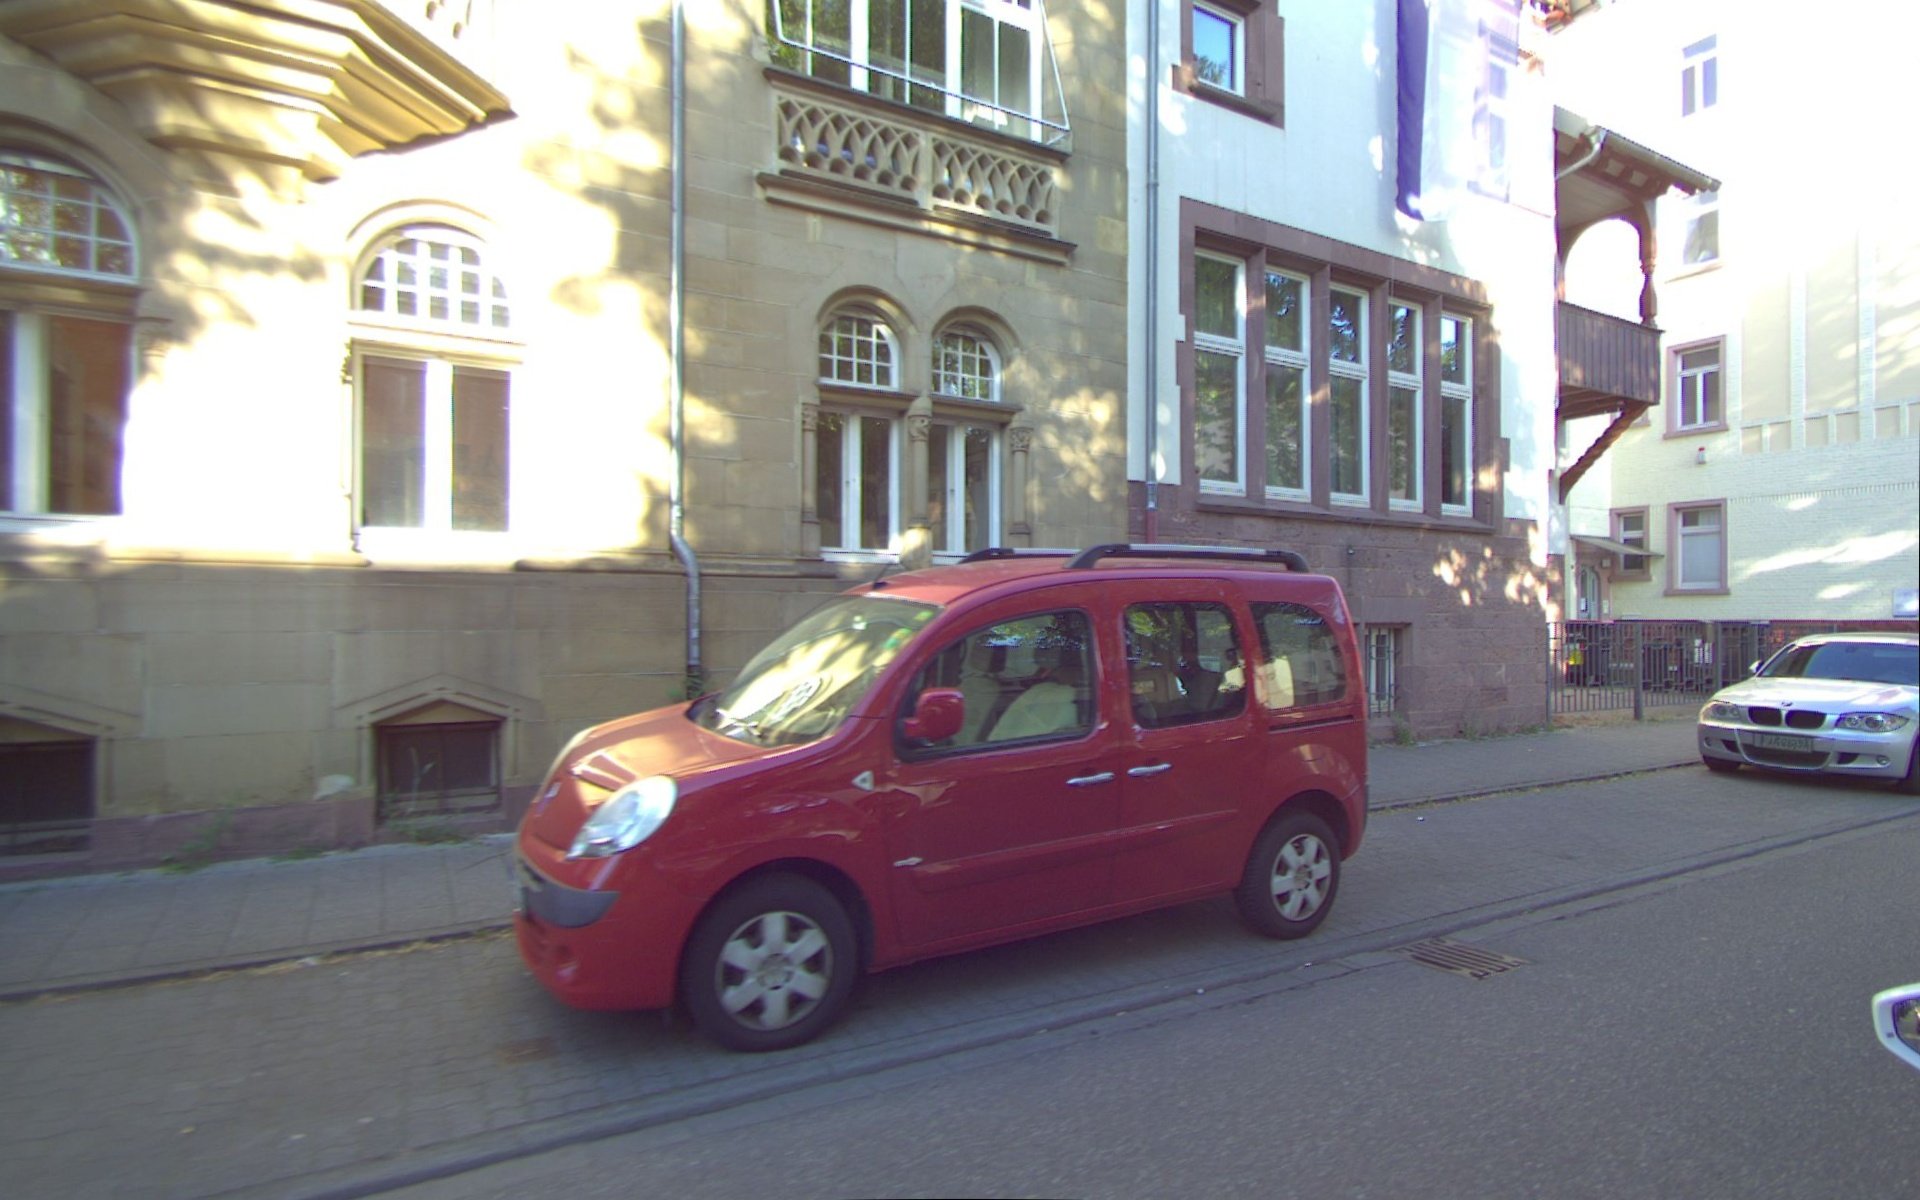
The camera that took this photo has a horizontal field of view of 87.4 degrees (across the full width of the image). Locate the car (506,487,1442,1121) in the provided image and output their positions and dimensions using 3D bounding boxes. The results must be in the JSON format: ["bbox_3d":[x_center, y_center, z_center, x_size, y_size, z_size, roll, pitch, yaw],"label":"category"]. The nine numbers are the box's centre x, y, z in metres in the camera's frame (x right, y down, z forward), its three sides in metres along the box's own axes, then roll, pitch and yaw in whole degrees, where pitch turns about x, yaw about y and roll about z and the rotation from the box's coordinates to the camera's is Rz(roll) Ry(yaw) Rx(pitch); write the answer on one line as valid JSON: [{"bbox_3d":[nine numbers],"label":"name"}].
[{"bbox_3d":[0.202,0.640,4.914,4.273,1.932,1.790,1,0,-30],"label":"car"}]

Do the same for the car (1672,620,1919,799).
[{"bbox_3d":[9.179,0.953,10.244,4.058,1.486,1.734,1,-1,-32],"label":"car"}]

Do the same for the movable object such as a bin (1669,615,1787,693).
[{"bbox_3d":[13.539,0.921,17.743,0.954,1.316,1.374,0,-1,-20],"label":"movable object such as a bin"}]

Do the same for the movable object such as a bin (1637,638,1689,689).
[{"bbox_3d":[12.782,1.142,18.269,0.662,0.890,0.480,0,-1,-20],"label":"movable object such as a bin"}]

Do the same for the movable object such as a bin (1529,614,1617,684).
[{"bbox_3d":[12.309,0.961,20.184,0.680,1.335,1.370,1,-1,-36],"label":"movable object such as a bin"}]
